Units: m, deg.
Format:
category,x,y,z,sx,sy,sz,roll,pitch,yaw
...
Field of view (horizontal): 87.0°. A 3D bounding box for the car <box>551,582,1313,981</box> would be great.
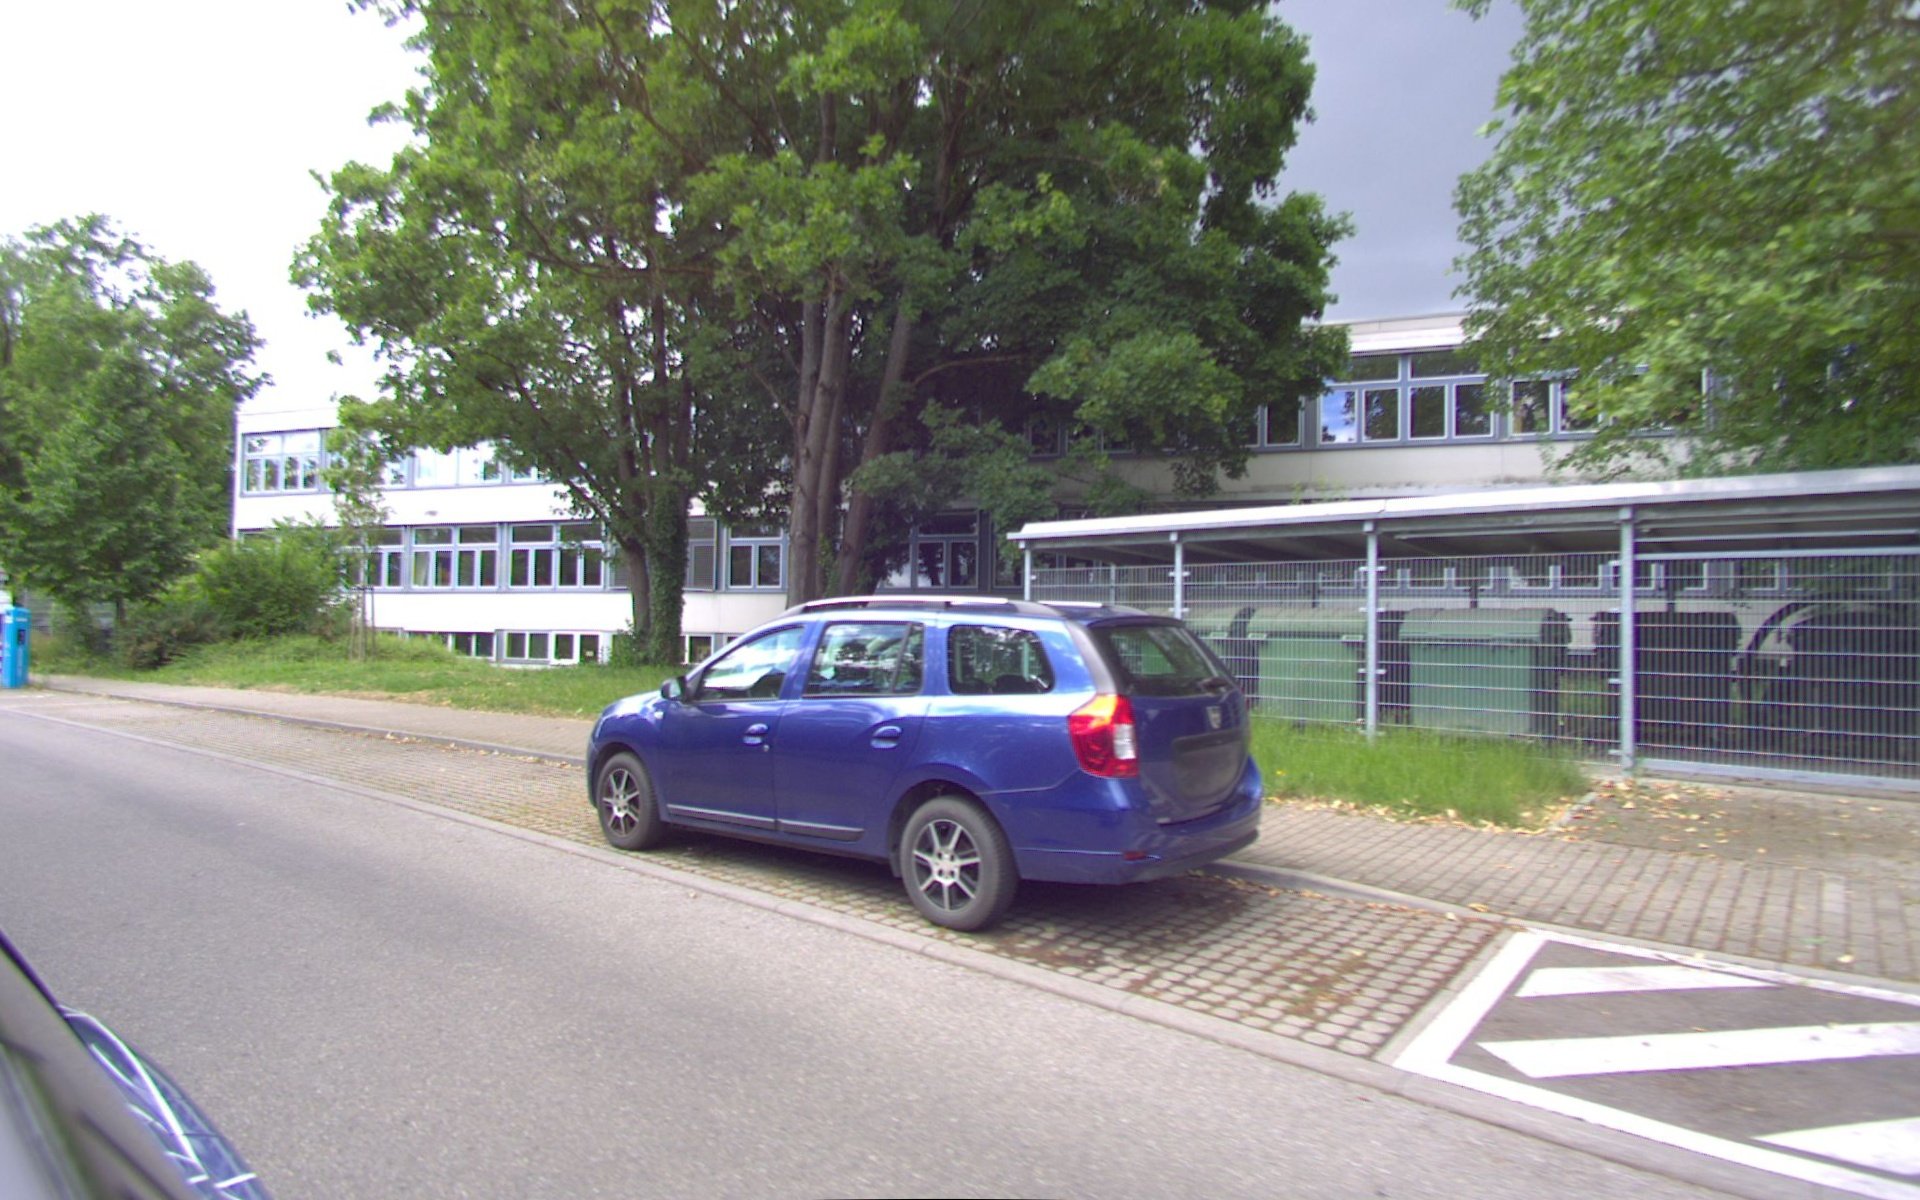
category,x,y,z,sx,sy,sz,roll,pitch,yaw
car,-0.434,0.748,5.919,4.425,1.523,1.664,-1,-2,38
